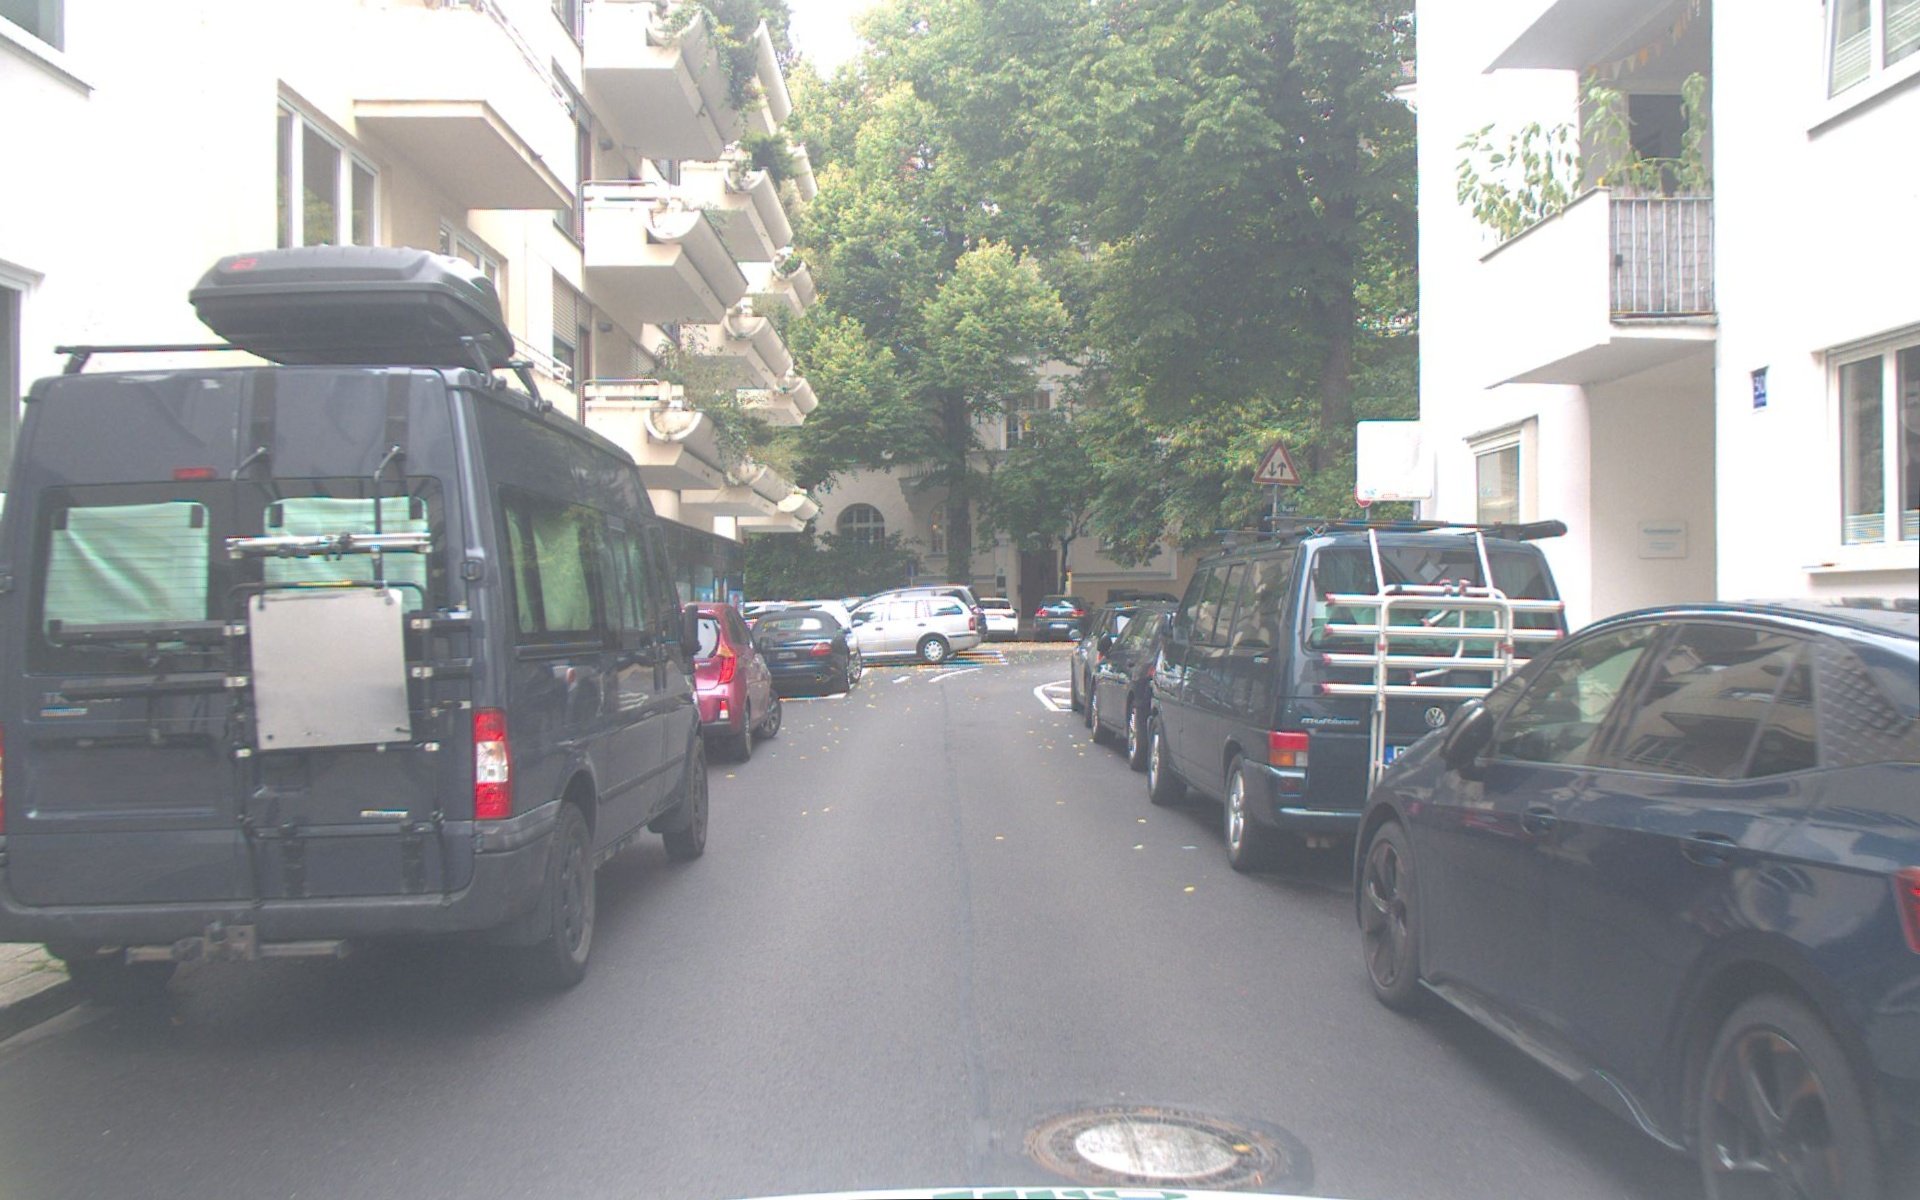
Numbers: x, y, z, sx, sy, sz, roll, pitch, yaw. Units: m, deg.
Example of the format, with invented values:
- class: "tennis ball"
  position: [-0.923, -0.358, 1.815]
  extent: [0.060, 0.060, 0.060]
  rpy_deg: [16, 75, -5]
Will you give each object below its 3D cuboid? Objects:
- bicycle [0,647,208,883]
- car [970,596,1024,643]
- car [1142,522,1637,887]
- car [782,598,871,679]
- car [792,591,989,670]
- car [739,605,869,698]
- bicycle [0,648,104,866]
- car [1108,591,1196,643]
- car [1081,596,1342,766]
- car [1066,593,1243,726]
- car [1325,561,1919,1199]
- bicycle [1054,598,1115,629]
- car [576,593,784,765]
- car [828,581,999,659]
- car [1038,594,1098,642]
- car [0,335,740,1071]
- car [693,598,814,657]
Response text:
- class: "bicycle"
  position: [-4.810, 0.843, 9.125]
  extent: [0.453, 1.117, 1.870]
  rpy_deg: [0, 0, 0]
- class: "car"
  position: [1.190, 0.613, 53.502]
  extent: [1.683, 1.456, 4.001]
  rpy_deg: [0, 0, 1]
- class: "car"
  position: [2.435, 0.543, 10.738]
  extent: [1.836, 1.822, 4.780]
  rpy_deg: [0, 0, -2]
- class: "car"
  position: [-2.590, 0.707, 32.670]
  extent: [1.529, 1.446, 3.832]
  rpy_deg: [-2, 0, -2]
- class: "car"
  position: [-1.498, 0.644, 36.203]
  extent: [4.143, 1.480, 1.720]
  rpy_deg: [-3, 0, -2]
- class: "car"
  position: [-2.457, 0.779, 27.057]
  extent: [1.760, 1.300, 4.615]
  rpy_deg: [-2, 0, -2]
- class: "bicycle"
  position: [-5.263, 0.836, 8.777]
  extent: [0.453, 1.117, 1.870]
  rpy_deg: [0, 0, 0]
- class: "car"
  position: [6.079, 0.520, 51.952]
  extent: [1.801, 1.557, 4.025]
  rpy_deg: [0, 0, 21]
- class: "car"
  position: [2.321, 0.702, 16.298]
  extent: [1.796, 1.444, 4.056]
  rpy_deg: [-1, 0, -2]
- class: "car"
  position: [2.320, 0.676, 20.647]
  extent: [1.707, 1.466, 4.000]
  rpy_deg: [-1, 0, 0]
- class: "car"
  position: [2.607, 0.728, 4.983]
  extent: [1.867, 1.581, 4.623]
  rpy_deg: [0, 0, -2]
- class: "bicycle"
  position: [4.614, 0.493, 61.326]
  extent: [2.185, 1.135, 0.576]
  rpy_deg: [0, 0, 28]
- class: "car"
  position: [-2.712, 0.716, 16.733]
  extent: [1.587, 1.522, 3.707]
  rpy_deg: [-1, 0, -2]
- class: "car"
  position: [-1.173, 0.487, 41.463]
  extent: [4.136, 1.713, 1.901]
  rpy_deg: [-3, 0, -3]
- class: "car"
  position: [3.466, 0.532, 52.374]
  extent: [1.753, 1.456, 4.003]
  rpy_deg: [0, 0, 6]
- class: "car"
  position: [-2.427, 0.353, 8.058]
  extent: [1.977, 2.318, 5.389]
  rpy_deg: [-2, 0, -1]
- class: "car"
  position: [-5.988, 0.785, 47.859]
  extent: [3.240, 1.660, 1.501]
  rpy_deg: [0, 0, -21]
